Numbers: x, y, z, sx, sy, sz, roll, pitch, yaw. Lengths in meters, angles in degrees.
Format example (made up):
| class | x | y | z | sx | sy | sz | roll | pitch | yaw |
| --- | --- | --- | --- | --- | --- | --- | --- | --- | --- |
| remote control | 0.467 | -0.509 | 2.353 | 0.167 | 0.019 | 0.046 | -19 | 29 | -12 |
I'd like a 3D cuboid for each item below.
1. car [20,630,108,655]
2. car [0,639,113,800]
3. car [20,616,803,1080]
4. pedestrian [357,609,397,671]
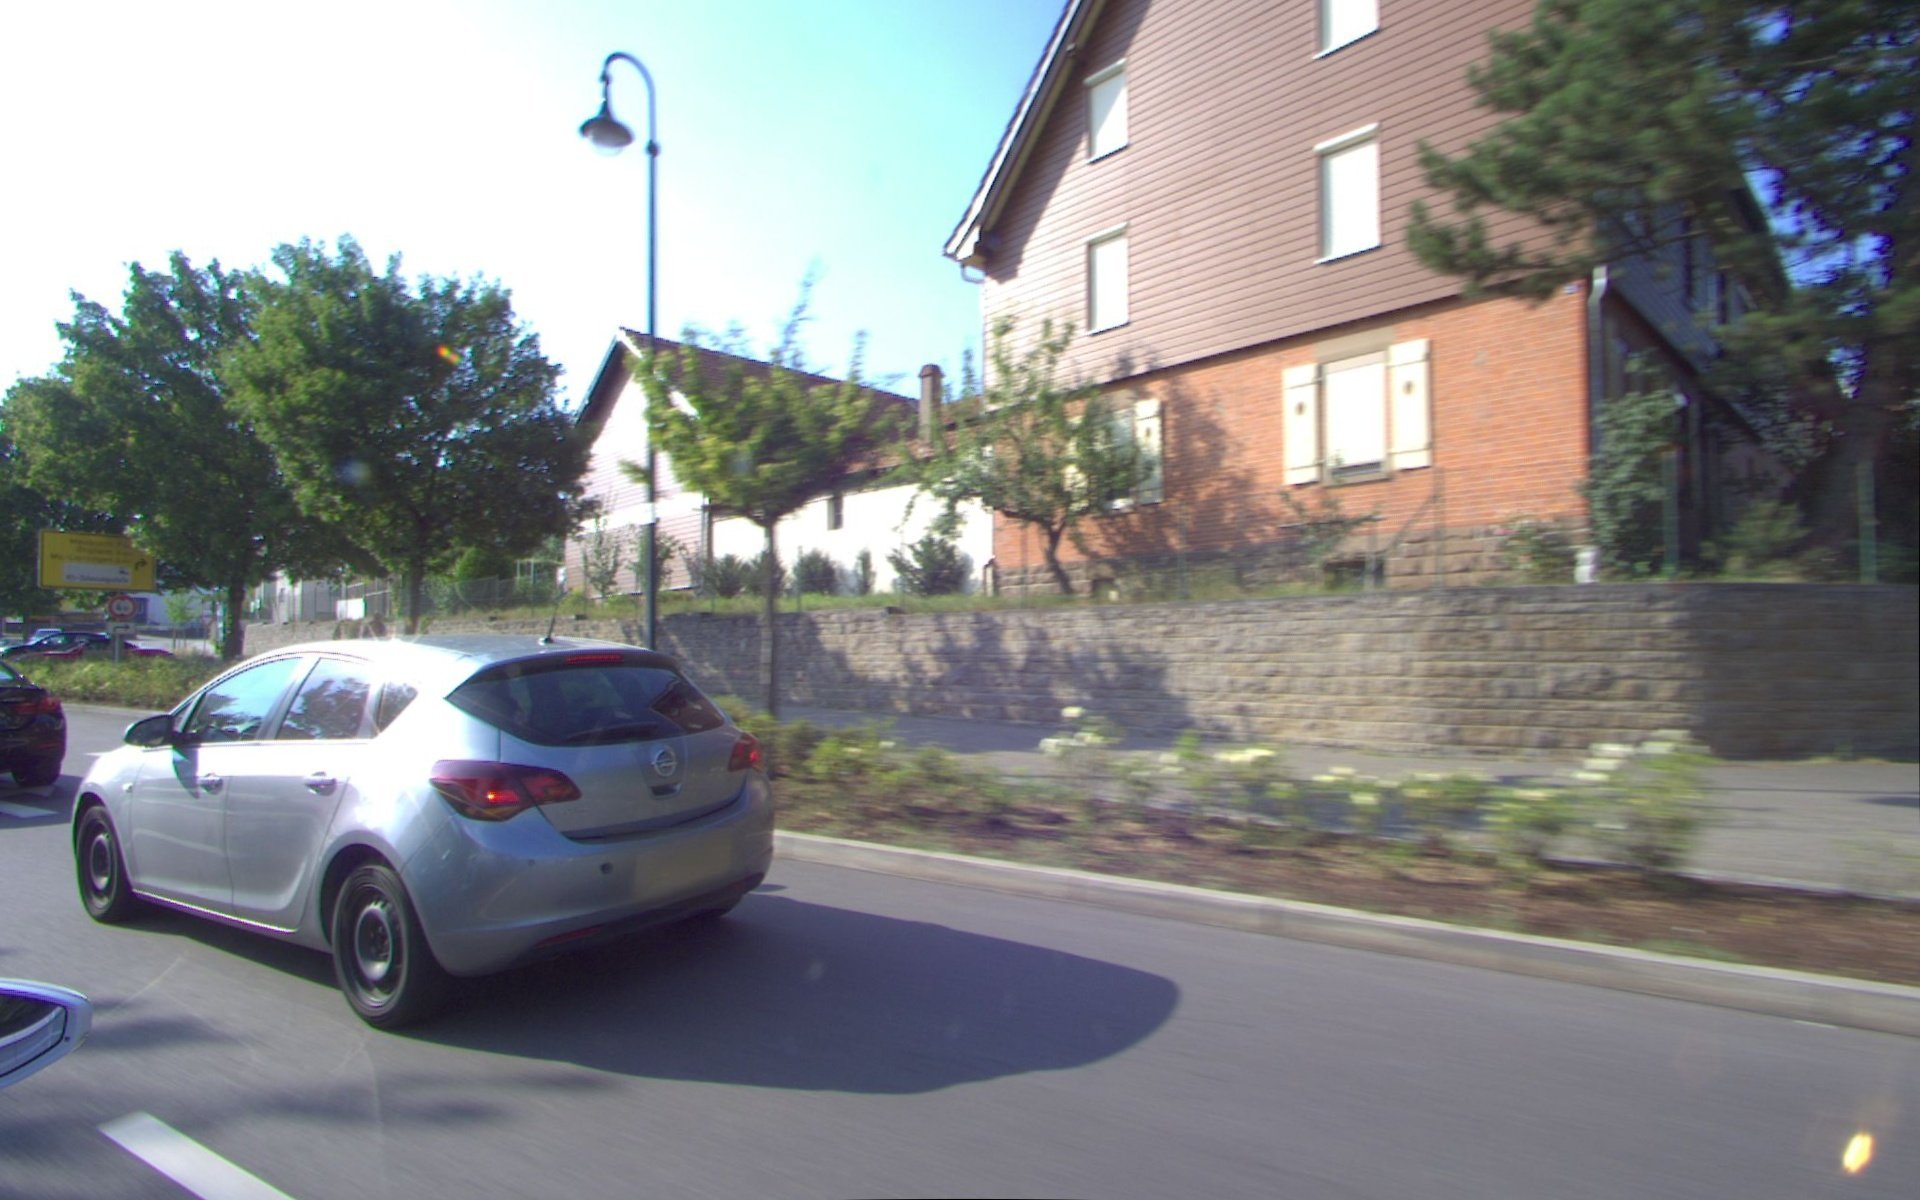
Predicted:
| class | x | y | z | sx | sy | sz | roll | pitch | yaw |
| --- | --- | --- | --- | --- | --- | --- | --- | --- | --- |
| car | -68.200 | 3.207 | 76.306 | 1.969 | 1.852 | 4.629 | -1 | -2 | 28 |
| car | -10.191 | 1.074 | 9.570 | 4.289 | 1.381 | 1.918 | -1 | -2 | 31 |
| car | -2.986 | 0.850 | 5.163 | 4.244 | 1.509 | 1.718 | 0 | -1 | 32 |
| pedestrian | -16.513 | 1.117 | 28.376 | 0.938 | 1.724 | 0.693 | -1 | -1 | 39 |
